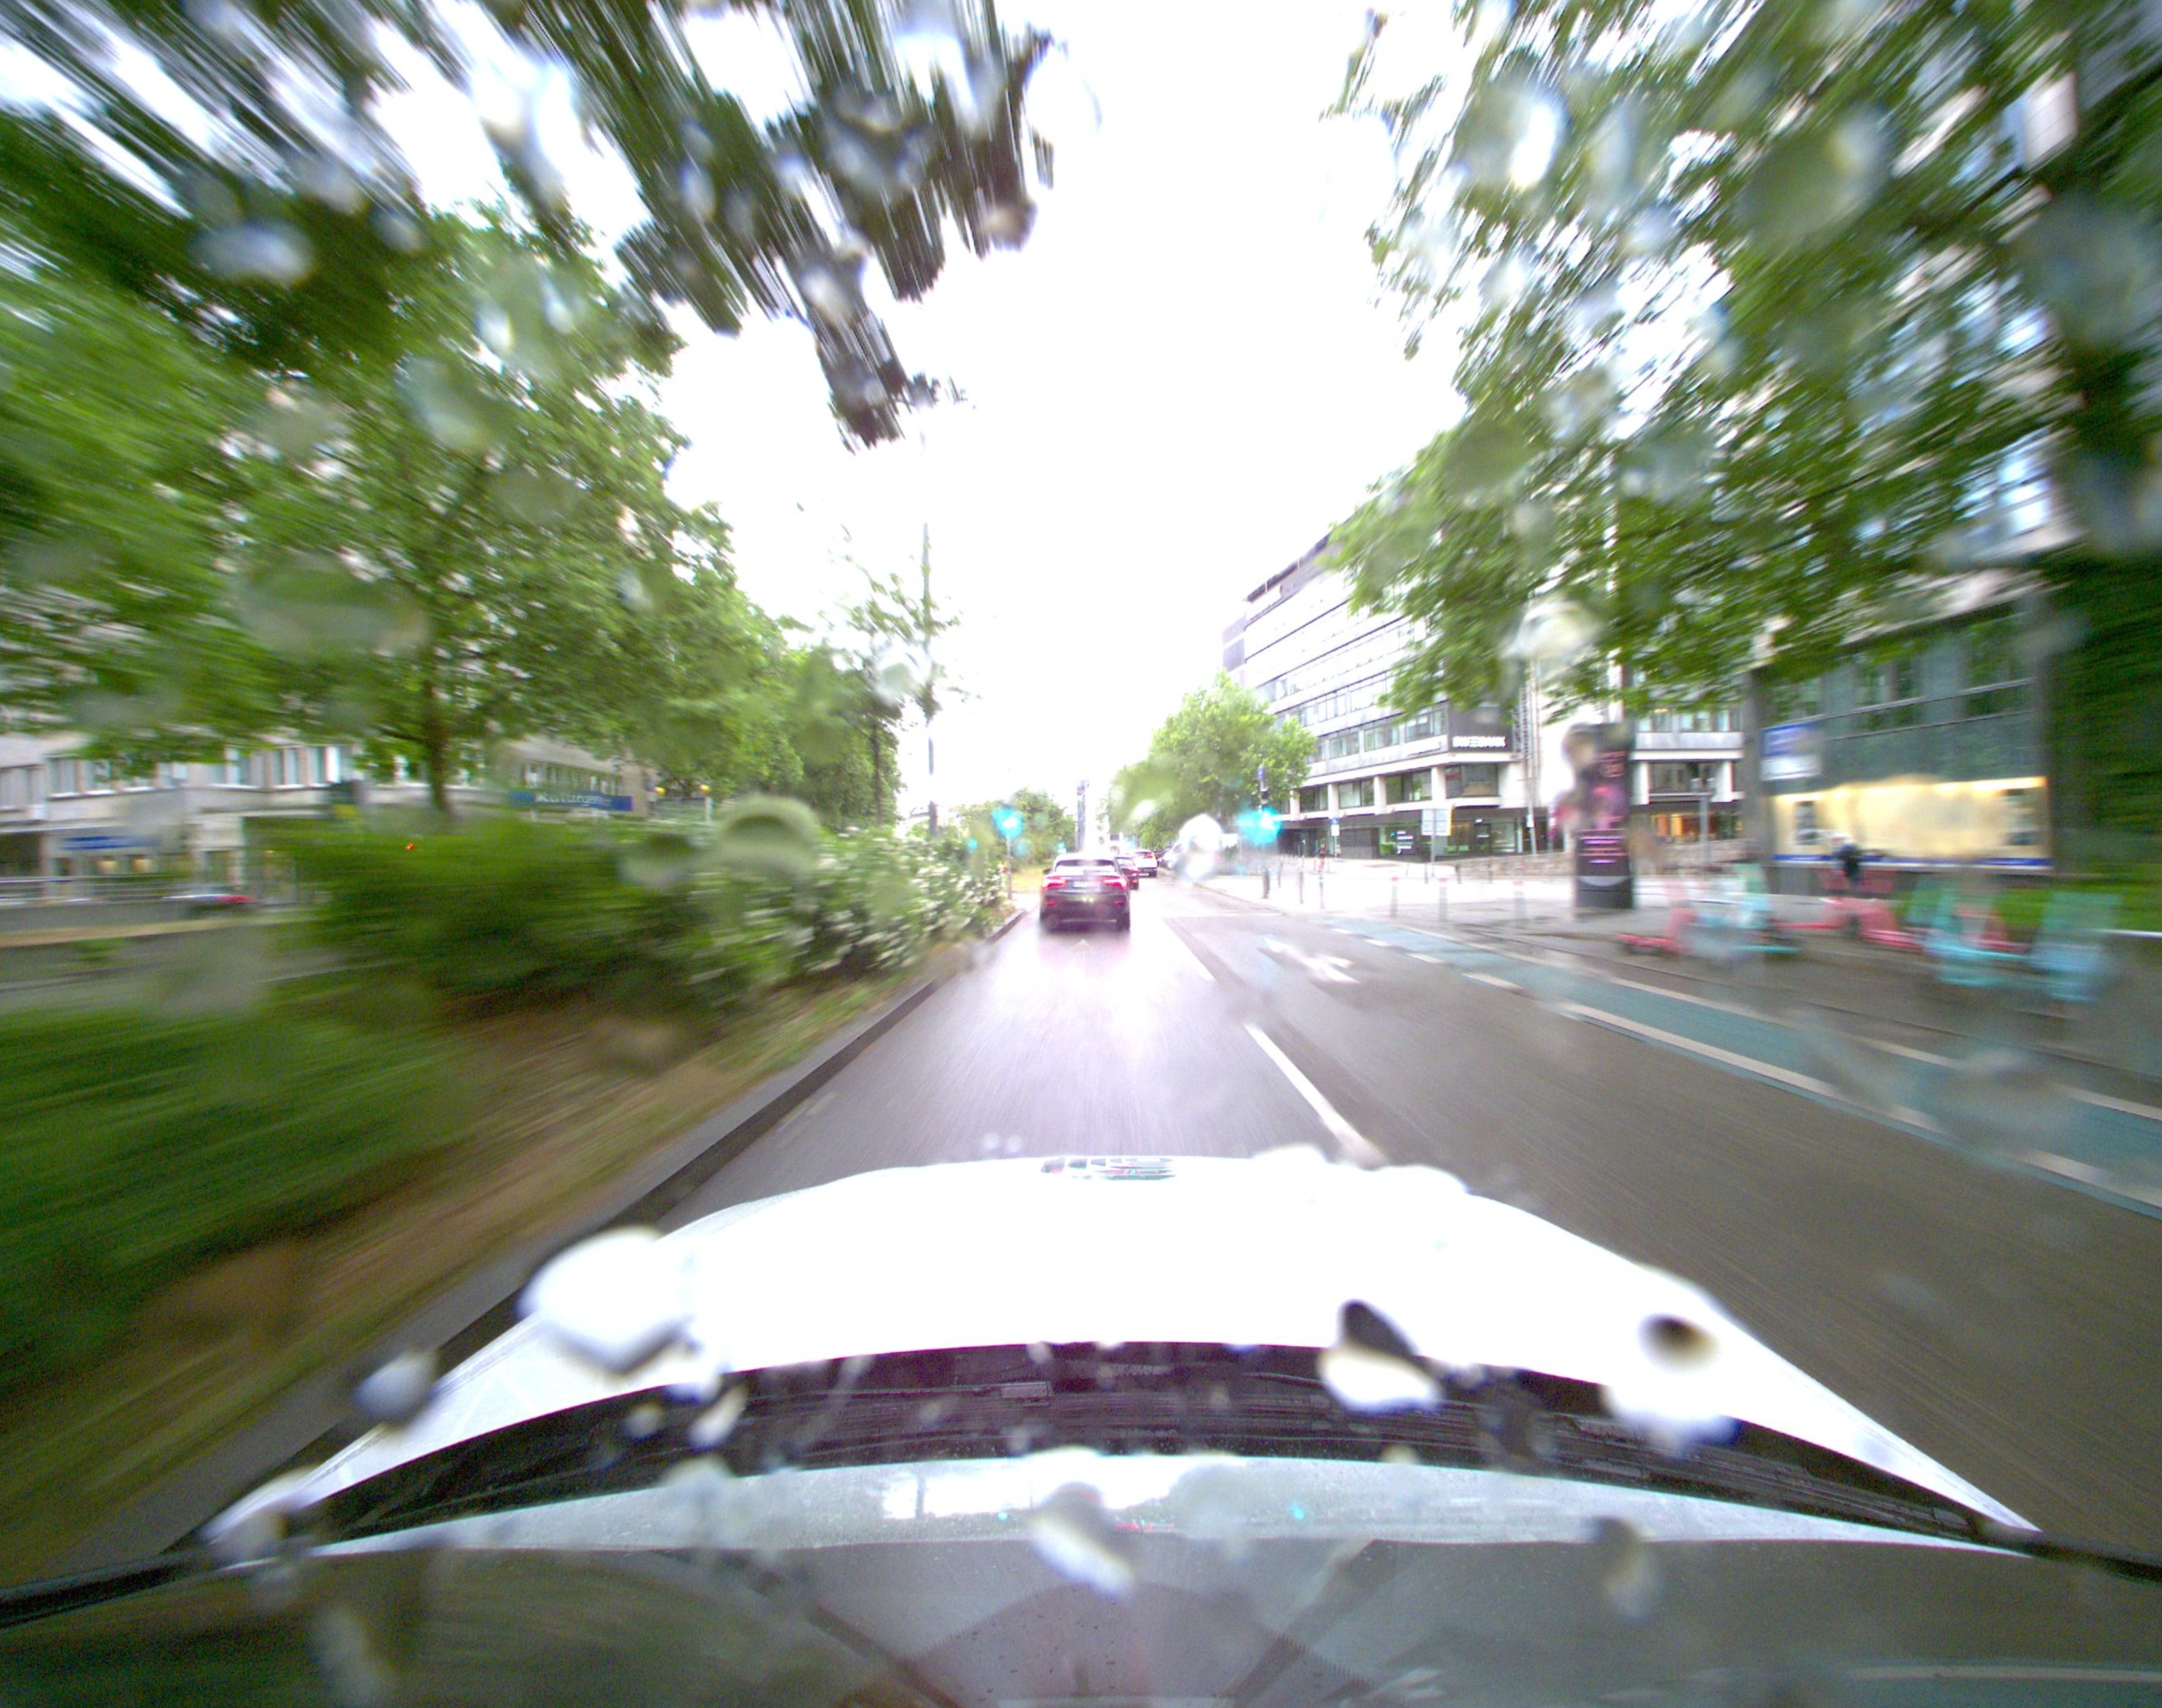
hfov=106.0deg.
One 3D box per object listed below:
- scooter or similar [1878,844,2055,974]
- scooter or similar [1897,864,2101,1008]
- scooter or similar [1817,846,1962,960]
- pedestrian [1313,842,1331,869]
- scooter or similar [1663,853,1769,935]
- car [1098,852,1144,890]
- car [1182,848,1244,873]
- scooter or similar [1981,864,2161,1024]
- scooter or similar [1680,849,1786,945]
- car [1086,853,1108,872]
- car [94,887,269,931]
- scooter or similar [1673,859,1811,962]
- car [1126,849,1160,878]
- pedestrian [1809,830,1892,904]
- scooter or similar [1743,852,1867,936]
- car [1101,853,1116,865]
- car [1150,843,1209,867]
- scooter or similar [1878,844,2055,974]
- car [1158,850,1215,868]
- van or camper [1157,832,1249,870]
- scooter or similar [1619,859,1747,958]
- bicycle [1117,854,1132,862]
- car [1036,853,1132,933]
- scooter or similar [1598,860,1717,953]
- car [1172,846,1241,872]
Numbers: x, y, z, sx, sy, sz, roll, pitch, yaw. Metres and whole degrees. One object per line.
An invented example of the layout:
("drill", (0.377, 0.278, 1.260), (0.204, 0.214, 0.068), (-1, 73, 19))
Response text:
("scooter or similar", (9.425, 0.538, 8.732), (0.486, 1.260, 1.294), (-3, 1, 1))
("scooter or similar", (8.526, 0.748, 7.591), (1.284, 1.236, 0.489), (-3, 1, 3))
("scooter or similar", (9.832, 0.553, 9.958), (0.486, 1.260, 1.294), (-3, 1, 1))
("pedestrian", (15.845, 0.103, 53.599), (0.803, 1.696, 1.186), (0, 0, -3))
("scooter or similar", (9.726, 0.592, 12.521), (0.487, 1.198, 1.290), (-1, -1, -8))
("car", (1.658, 0.698, 34.993), (1.843, 1.523, 4.039), (-1, 0, 1))
("car", (8.392, 0.420, 51.716), (3.618, 1.547, 1.723), (-1, 0, 20))
("scooter or similar", (8.510, 0.737, 6.846), (1.284, 1.236, 0.489), (-3, 1, 3))
("scooter or similar", (9.303, 0.582, 11.670), (0.486, 1.260, 1.294), (-3, 1, 1))
("car", (1.355, 0.672, 68.599), (1.843, 1.523, 4.039), (-1, 0, 1))
("car", (-28.354, 1.706, 25.831), (3.425, 1.177, 1.500), (-1, 0, -32))
("scooter or similar", (8.503, 0.726, 10.515), (1.280, 1.260, 0.491), (-2, 1, 12))
("car", (3.791, 0.560, 50.064), (1.843, 1.669, 4.039), (-1, 0, 1))
("pedestrian", (19.857, 0.335, 21.052), (0.914, 1.850, 1.276), (0, -1, -1))
("scooter or similar", (10.888, 0.580, 12.282), (0.490, 1.198, 1.281), (0, -1, -30))
("car", (3.543, 0.636, 105.147), (1.843, 1.523, 4.039), (-1, 0, 1))
("car", (9.043, 0.088, 74.569), (4.891, 1.978, 1.941), (-2, 0, 26))
("scooter or similar", (9.425, 0.538, 8.732), (0.486, 1.260, 1.294), (-3, 1, 1))
("car", (8.908, 0.410, 68.767), (4.324, 1.436, 1.772), (-1, 0, 27))
("van or camper", (8.646, -0.176, 57.685), (6.008, 2.558, 2.117), (-1, -1, 28))
("scooter or similar", (8.142, 0.737, 11.053), (1.280, 1.260, 0.491), (-2, 1, 12))
("bicycle", (7.226, 0.698, 134.201), (2.335, 1.312, 0.708), (-1, 0, -7))
("car", (0.085, 0.768, 17.834), (1.843, 1.523, 4.038), (-1, 0, 0))
("scooter or similar", (8.233, 0.745, 11.663), (1.280, 1.260, 0.491), (-2, 1, 12))
("car", (8.383, 0.335, 54.392), (4.217, 1.667, 1.829), (-1, 0, 27))
